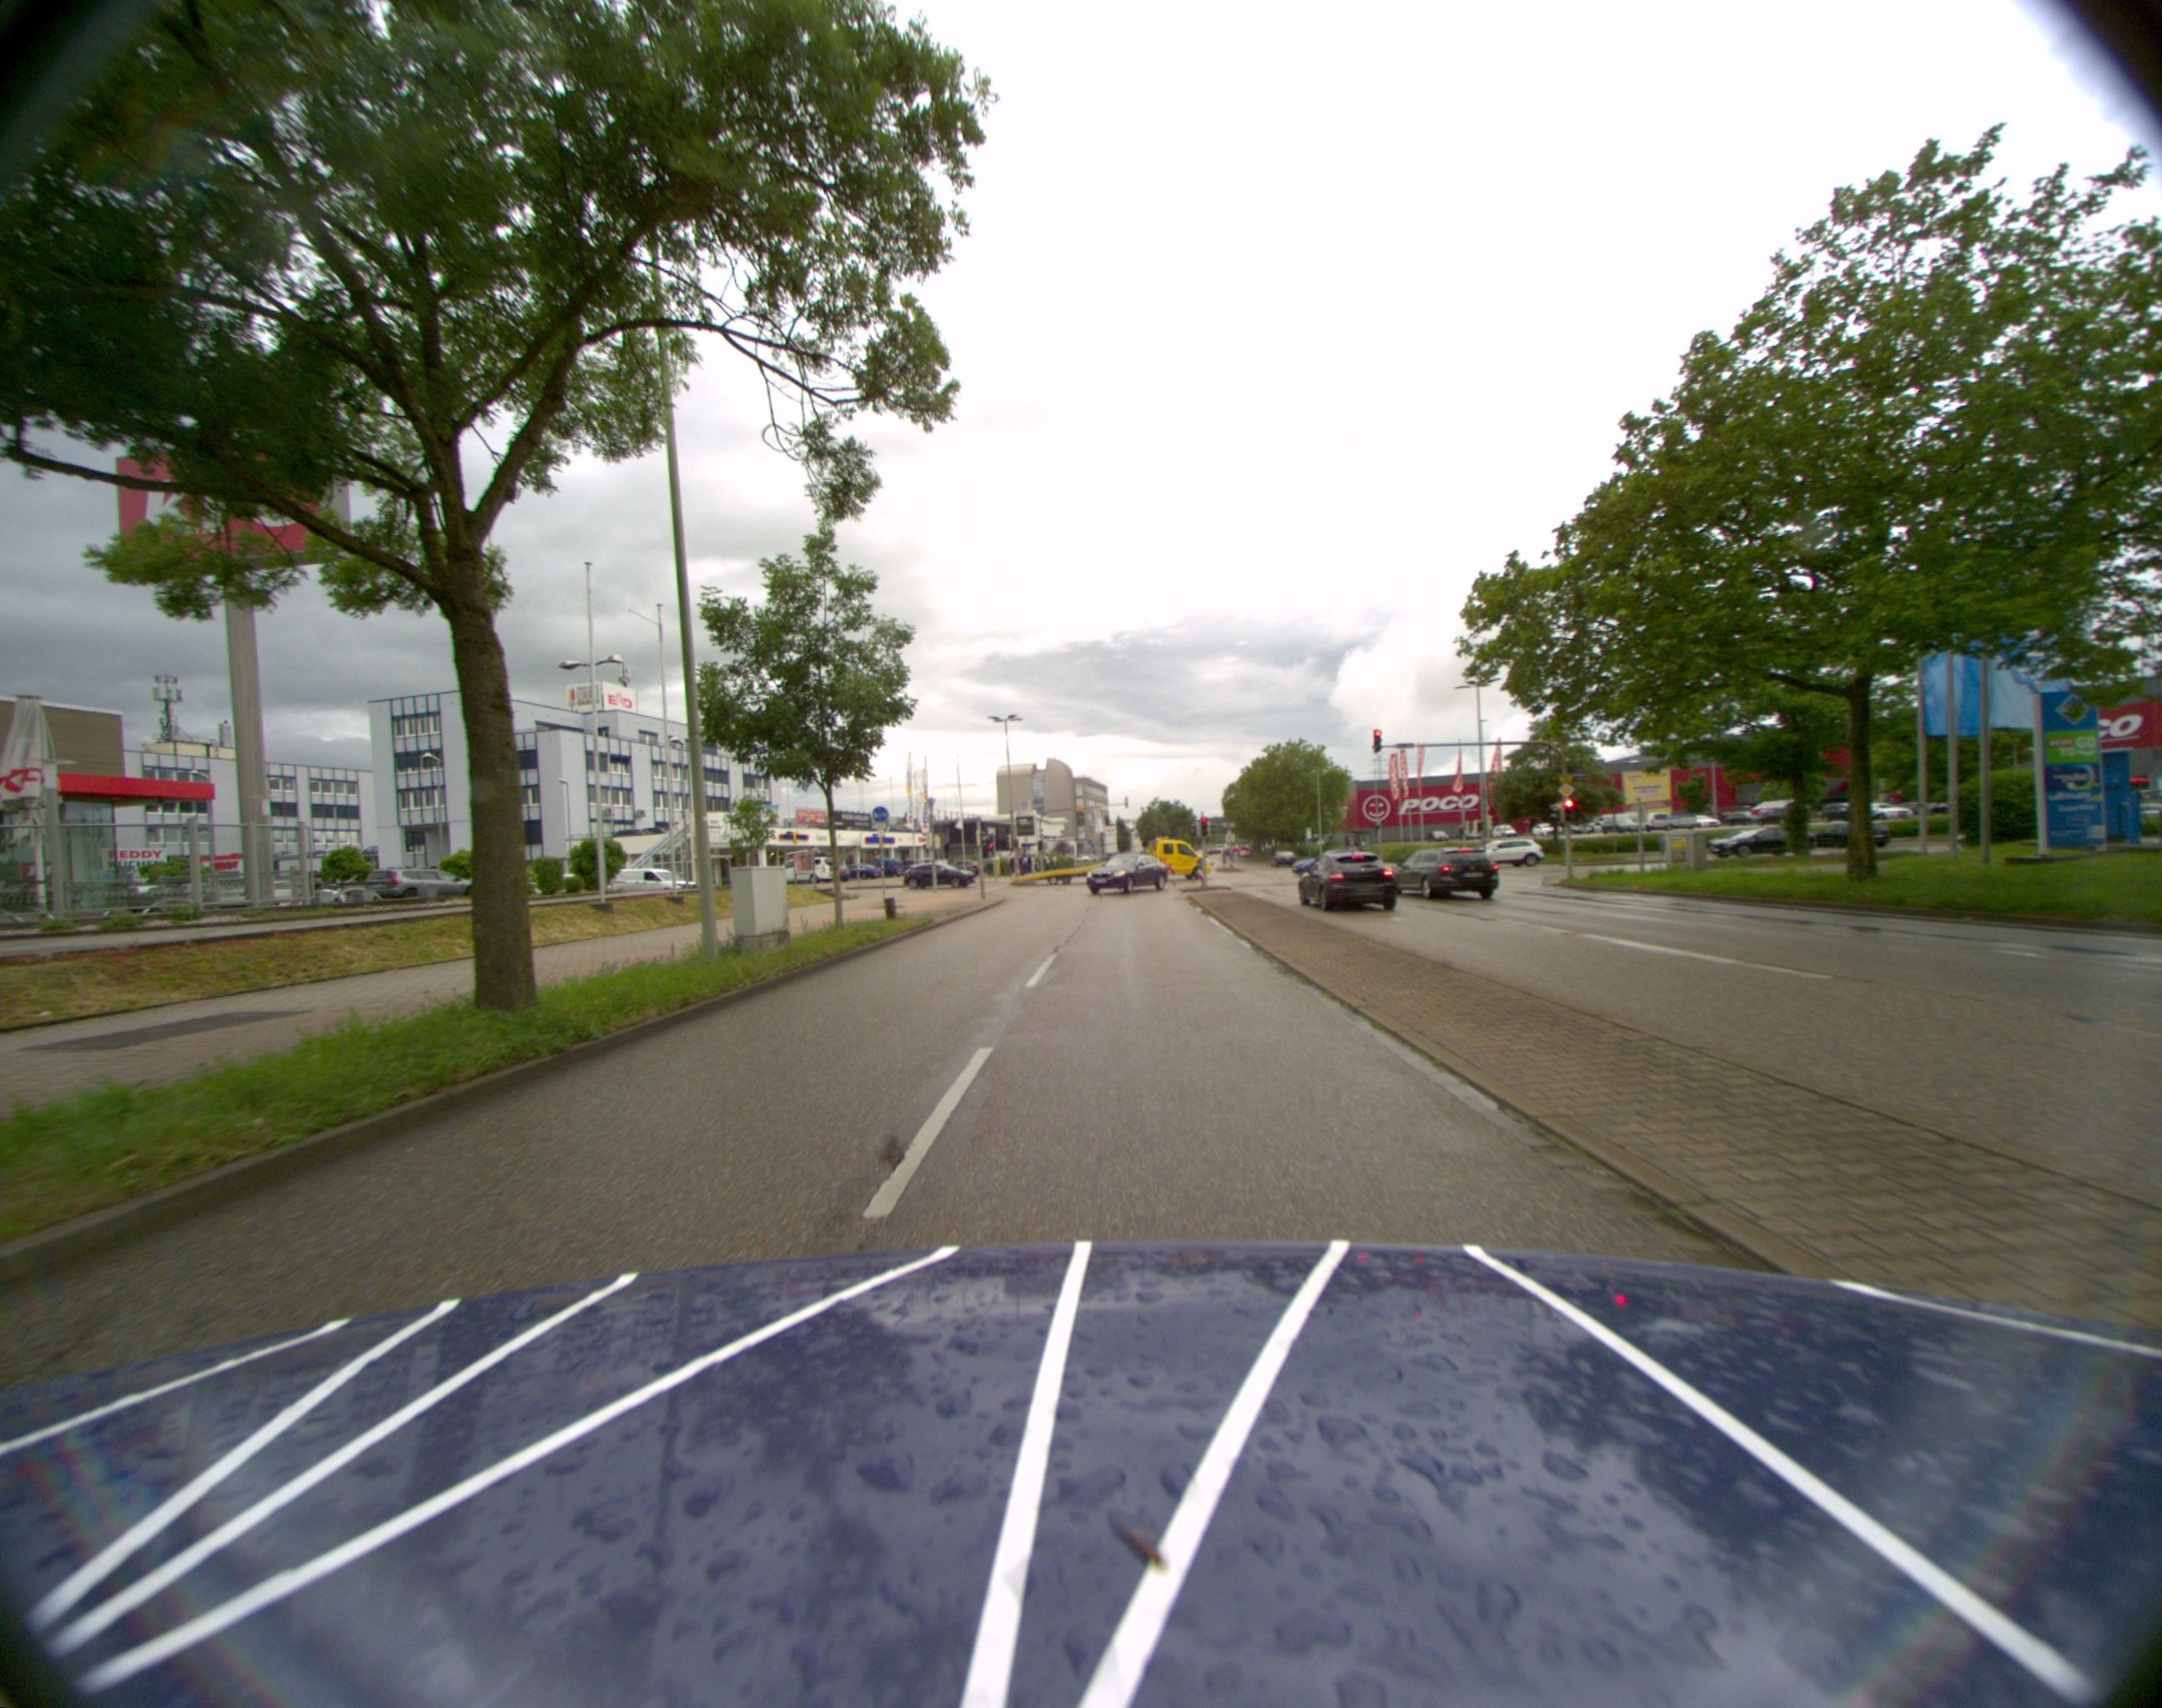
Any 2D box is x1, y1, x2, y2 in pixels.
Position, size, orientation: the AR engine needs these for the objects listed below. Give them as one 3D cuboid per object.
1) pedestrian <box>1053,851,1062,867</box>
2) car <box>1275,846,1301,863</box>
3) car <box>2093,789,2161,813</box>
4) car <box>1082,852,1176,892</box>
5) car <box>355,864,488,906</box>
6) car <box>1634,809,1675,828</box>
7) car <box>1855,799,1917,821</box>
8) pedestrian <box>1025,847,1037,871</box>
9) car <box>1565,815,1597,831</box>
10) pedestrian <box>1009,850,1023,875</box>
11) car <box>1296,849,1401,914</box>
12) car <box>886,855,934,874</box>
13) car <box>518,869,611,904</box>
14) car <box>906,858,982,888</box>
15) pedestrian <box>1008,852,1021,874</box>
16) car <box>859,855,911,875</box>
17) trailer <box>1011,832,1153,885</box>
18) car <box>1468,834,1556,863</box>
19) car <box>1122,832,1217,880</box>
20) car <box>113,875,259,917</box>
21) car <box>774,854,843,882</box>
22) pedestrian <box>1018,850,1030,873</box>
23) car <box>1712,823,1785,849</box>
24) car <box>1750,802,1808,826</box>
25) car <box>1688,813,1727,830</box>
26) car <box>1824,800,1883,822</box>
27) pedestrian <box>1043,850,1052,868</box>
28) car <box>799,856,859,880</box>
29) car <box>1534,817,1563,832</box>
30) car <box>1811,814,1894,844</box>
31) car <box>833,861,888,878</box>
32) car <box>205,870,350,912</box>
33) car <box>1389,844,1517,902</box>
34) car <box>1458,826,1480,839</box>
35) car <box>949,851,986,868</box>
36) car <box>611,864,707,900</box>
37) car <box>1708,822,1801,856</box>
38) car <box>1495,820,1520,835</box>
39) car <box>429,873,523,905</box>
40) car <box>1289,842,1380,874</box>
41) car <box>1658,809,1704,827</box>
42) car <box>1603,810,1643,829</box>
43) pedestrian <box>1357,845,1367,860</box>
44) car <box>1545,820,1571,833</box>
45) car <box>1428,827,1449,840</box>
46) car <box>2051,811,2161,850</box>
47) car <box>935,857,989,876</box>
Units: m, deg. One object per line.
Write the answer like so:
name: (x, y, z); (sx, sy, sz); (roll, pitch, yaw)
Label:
pedestrian: (-2.406, 0.506, 77.751); (0.713, 1.701, 0.698); (-2, 0, 14)
car: (18.207, 0.025, 66.984); (1.786, 1.396, 4.002); (-2, 0, 8)
car: (84.508, -4.245, 61.062); (1.670, 1.635, 3.830); (-2, 0, 12)
car: (2.172, 0.768, 33.092); (1.896, 1.544, 4.601); (-2, 0, 35)
car: (-30.578, 1.378, 35.419); (1.890, 1.730, 4.505); (-2, 0, 7)
car: (54.941, -3.370, 72.827); (1.629, 1.635, 3.830); (-2, 0, 12)
car: (68.345, -3.727, 64.593); (1.670, 1.635, 3.830); (-2, 0, 12)
pedestrian: (-4.310, 0.414, 65.499); (0.740, 2.002, 0.698); (-2, 0, 11)
car: (57.993, -3.532, 88.183); (1.670, 1.635, 3.966); (-2, 0, 12)
pedestrian: (-5.163, 0.671, 60.091); (0.817, 2.002, 0.695); (-2, 1, -30)
car: (6.846, 0.655, 19.839); (1.646, 1.499, 3.895); (-2, 0, 5)
car: (-17.576, 1.060, 77.974); (4.367, 1.753, 1.899); (-2, 0, 13)
car: (-28.029, 1.748, 41.281); (3.994, 1.698, 1.825); (-2, 0, 10)
car: (-8.093, 1.106, 45.112); (3.995, 1.532, 1.815); (-2, 2, 5)
pedestrian: (-5.435, 0.691, 62.063); (0.817, 1.765, 0.695); (-2, 2, -30)
car: (-18.877, 1.030, 73.125); (4.367, 1.753, 1.899); (-2, 0, 13)
trailer: (0.046, 0.275, 44.533); (7.967, 2.459, 2.310); (-4, 0, -3)
car: (25.069, -0.306, 44.323); (3.996, 1.544, 1.902); (-2, 0, 3)
car: (5.200, 0.137, 45.059); (5.014, 2.459, 2.245); (-4, 0, -7)
car: (-43.145, 1.970, 36.774); (1.879, 1.764, 4.187); (-1, 0, 7)
car: (-21.502, 1.100, 60.030); (4.778, 2.002, 2.002); (-2, 0, 14)
pedestrian: (-4.732, 0.624, 63.246); (0.814, 1.846, 0.698); (0, 2, 14)
car: (43.485, -1.134, 49.615); (1.683, 1.544, 3.662); (-2, 0, 4)
car: (73.792, -4.183, 80.475); (1.823, 2.290, 5.652); (-2, 0, 12)
car: (69.910, -3.638, 84.826); (1.670, 1.635, 3.966); (-2, 0, 12)
car: (65.590, -3.634, 64.587); (1.670, 1.635, 3.830); (-2, 0, 12)
pedestrian: (-3.297, 0.490, 74.887); (0.700, 1.701, 0.698); (-2, 0, 14)
car: (-20.970, 1.177, 63.261); (4.367, 1.809, 1.899); (-2, 0, 13)
car: (55.177, -3.450, 89.733); (1.670, 1.635, 3.966); (-2, 0, 12)
car: (48.734, -1.571, 48.103); (1.683, 1.714, 3.662); (-2, 0, 4)
car: (-19.678, 1.363, 67.797); (4.367, 1.385, 1.825); (-2, 0, 13)
car: (-38.110, 1.709, 36.226); (1.890, 1.730, 4.504); (-2, 0, 5)
car: (10.959, 0.507, 22.812); (1.997, 1.499, 4.733); (-2, 0, 7)
car: (53.688, -2.986, 105.087); (1.695, 1.635, 3.966); (-2, 0, 12)
car: (-13.720, 0.672, 92.041); (3.992, 2.002, 1.913); (-2, 0, 16)
car: (-22.436, 1.510, 40.452); (4.243, 1.772, 1.801); (-2, -2, 9)
car: (37.520, -0.827, 42.397); (3.534, 1.687, 1.602); (-3, 1, 8)
car: (58.685, -3.668, 104.529); (1.789, 1.914, 3.753); (-2, 0, 10)
car: (-33.568, 1.948, 42.172); (3.994, 1.589, 1.825); (-2, 0, 10)
car: (14.369, 0.228, 43.270); (4.547, 1.623, 1.802); (-2, 0, 3)
car: (54.268, -3.233, 68.838); (1.670, 1.373, 3.912); (-2, 0, 12)
car: (51.941, -3.270, 72.857); (1.670, 1.635, 3.830); (-2, 0, 12)
pedestrian: (26.523, -0.166, 71.693); (0.780, 1.423, 0.641); (-1, 0, 7)
car: (64.305, -3.690, 102.525); (1.695, 1.635, 3.966); (-2, 0, 12)
car: (47.717, -2.751, 101.470); (1.695, 1.635, 3.966); (-2, 0, 12)
car: (45.643, -1.019, 32.740); (1.927, 1.579, 4.588); (-2, 0, 3)
car: (-10.167, 1.061, 64.828); (4.119, 1.385, 1.826); (-2, 0, 16)
